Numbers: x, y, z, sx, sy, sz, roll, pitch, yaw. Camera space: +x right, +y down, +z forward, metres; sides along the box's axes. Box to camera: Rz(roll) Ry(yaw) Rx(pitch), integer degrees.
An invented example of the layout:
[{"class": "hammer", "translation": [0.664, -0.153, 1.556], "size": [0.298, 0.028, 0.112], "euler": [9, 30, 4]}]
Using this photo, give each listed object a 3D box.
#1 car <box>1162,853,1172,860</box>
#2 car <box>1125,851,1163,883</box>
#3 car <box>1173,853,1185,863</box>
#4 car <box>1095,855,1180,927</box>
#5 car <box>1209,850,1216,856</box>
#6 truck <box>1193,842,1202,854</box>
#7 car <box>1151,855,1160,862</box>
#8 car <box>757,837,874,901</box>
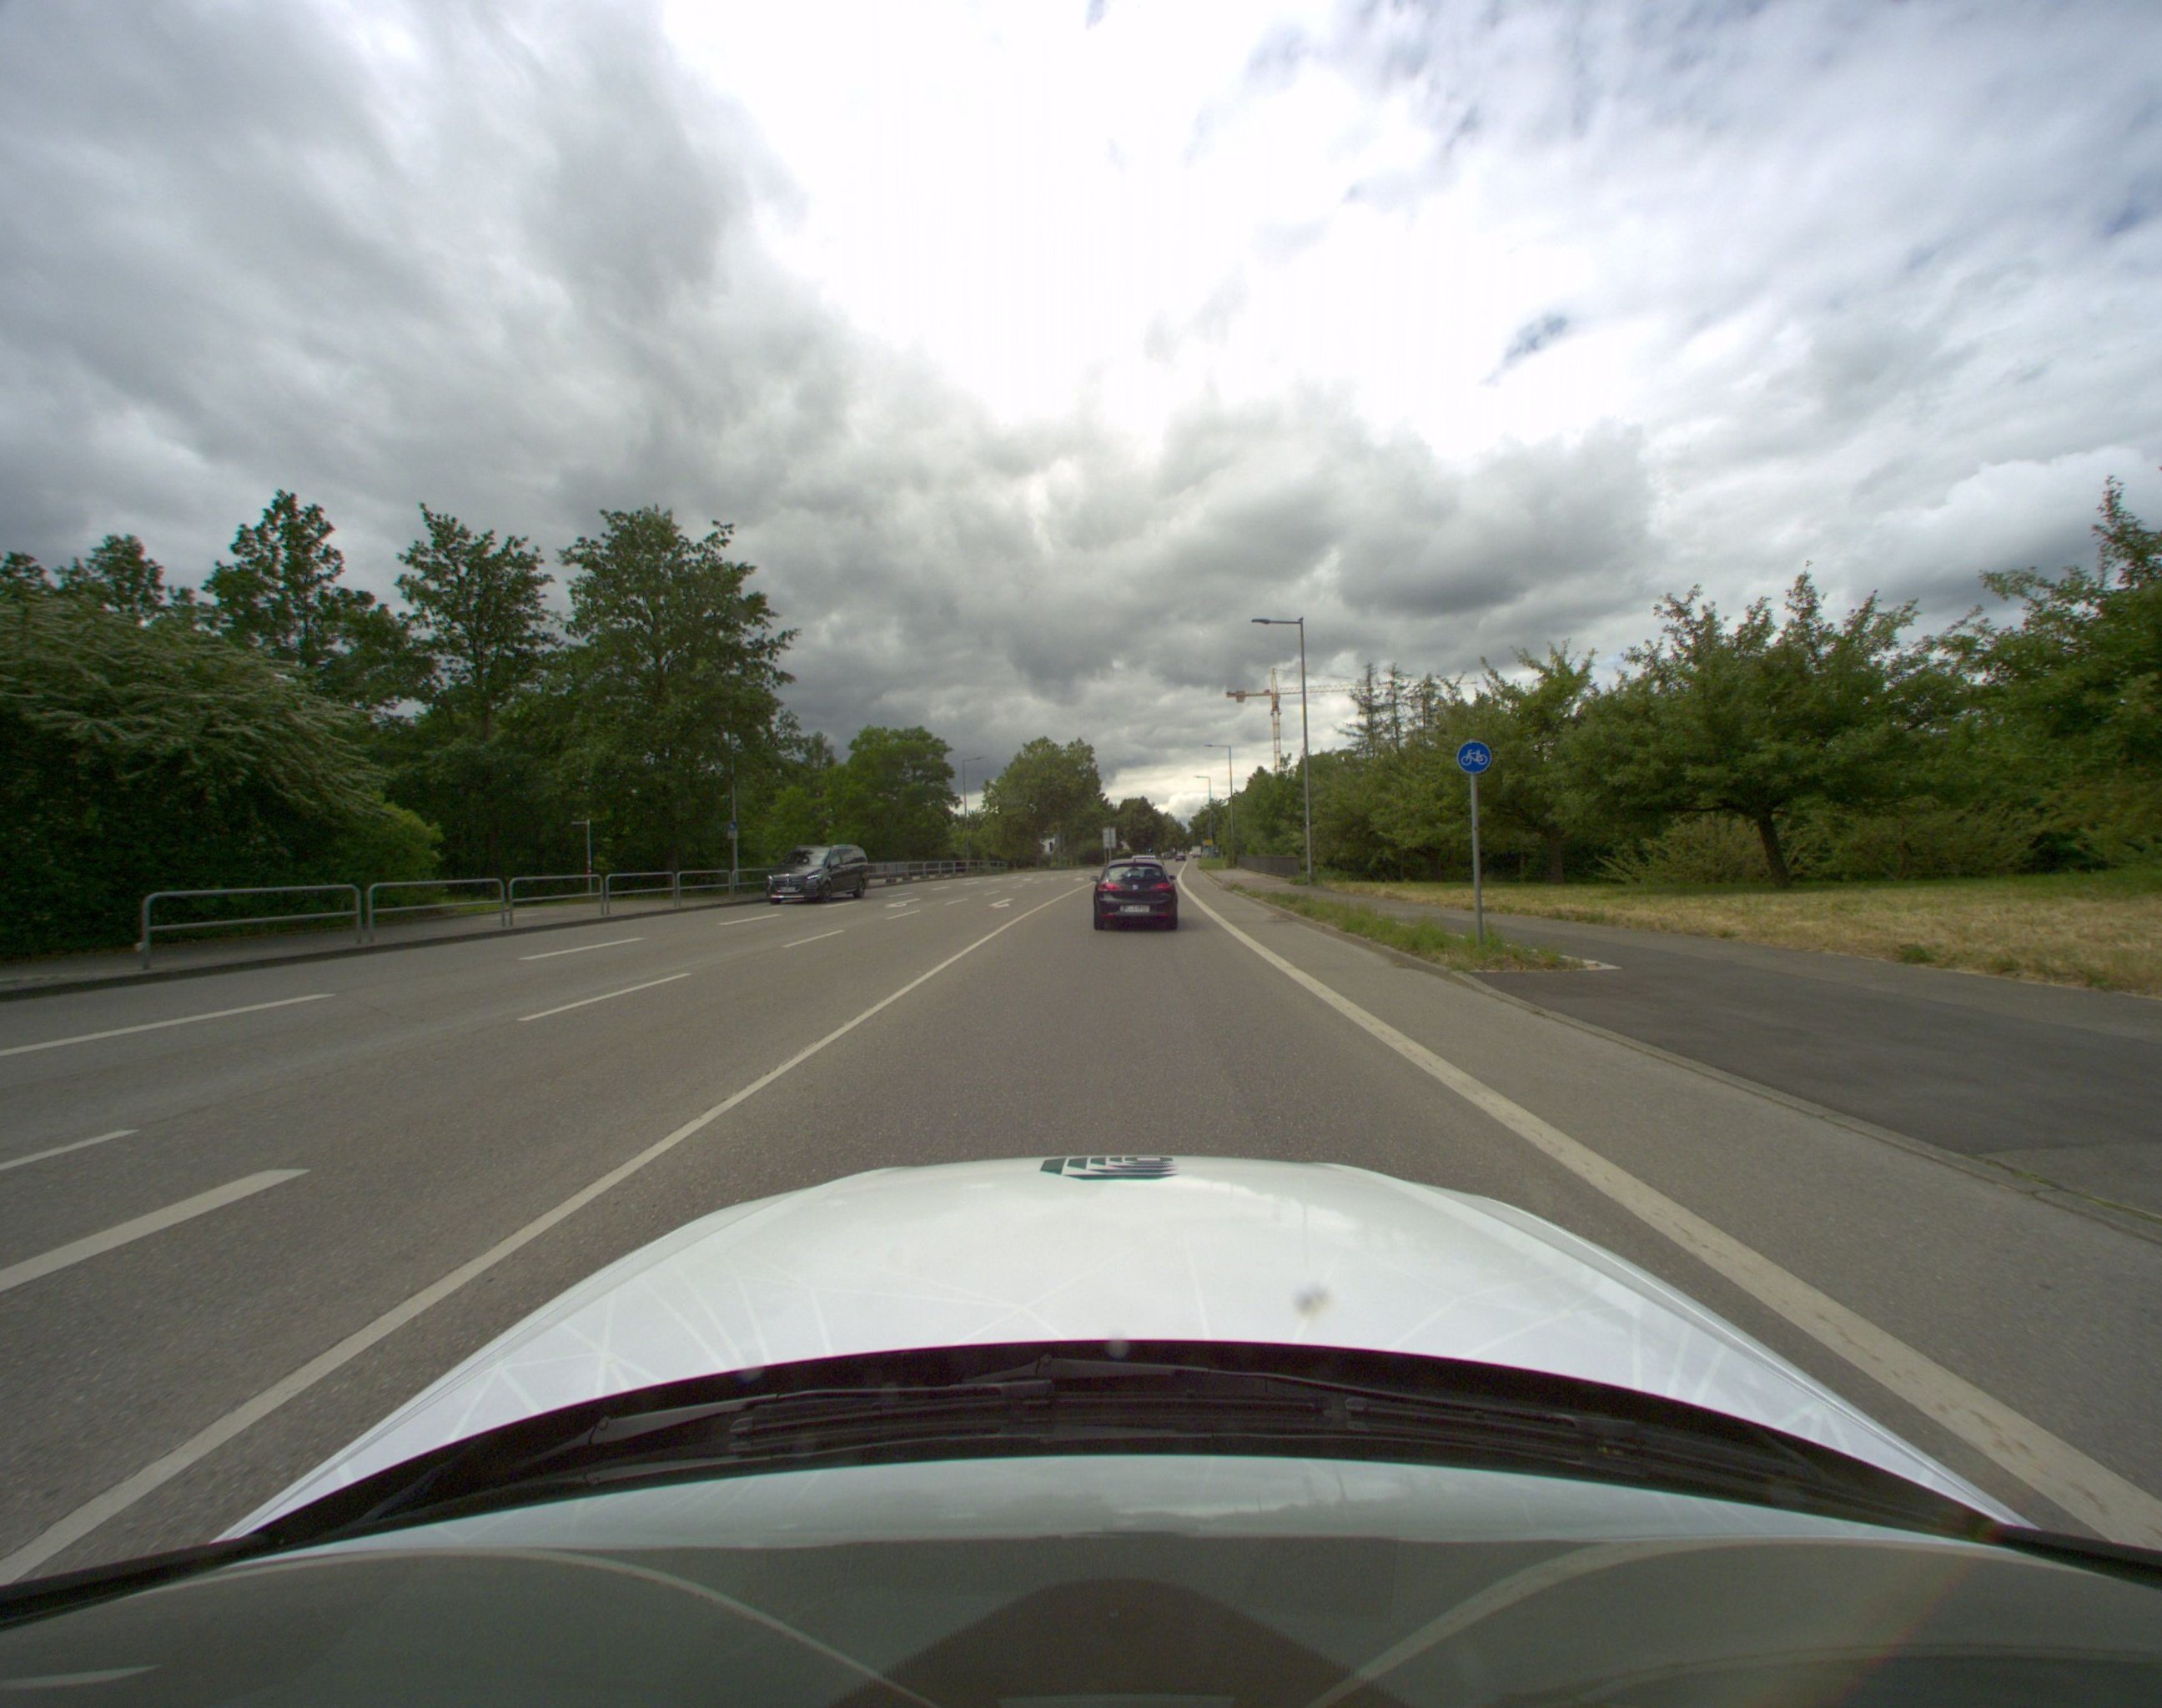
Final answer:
[{"class": "car", "translation": [22.911, 0.654, 216.221], "size": [2.087, 1.896, 5.800], "euler": [-4, -1, 10]}, {"class": "car", "translation": [3.244, 0.639, 41.642], "size": [1.837, 1.510, 3.817], "euler": [0, 0, 5]}, {"class": "car", "translation": [17.848, 0.760, 147.862], "size": [1.870, 1.689, 4.225], "euler": [-2, 0, 10]}, {"class": "car", "translation": [1.262, 0.733, 17.905], "size": [1.655, 1.401, 3.817], "euler": [0, 0, 5]}, {"class": "car", "translation": [33.691, -0.341, 208.733], "size": [1.678, 1.490, 3.364], "euler": [-2, 0, 10]}, {"class": "truck", "translation": [31.246, -1.455, 218.460], "size": [2.265, 3.104, 8.533], "euler": [0, 0, 9]}, {"class": "car", "translation": [17.154, 1.091, 187.630], "size": [1.707, 1.395, 4.814], "euler": [-4, -1, 10]}, {"class": "car", "translation": [-9.023, 0.476, 28.230], "size": [2.010, 1.947, 5.369], "euler": [-1, 0, 3]}]
